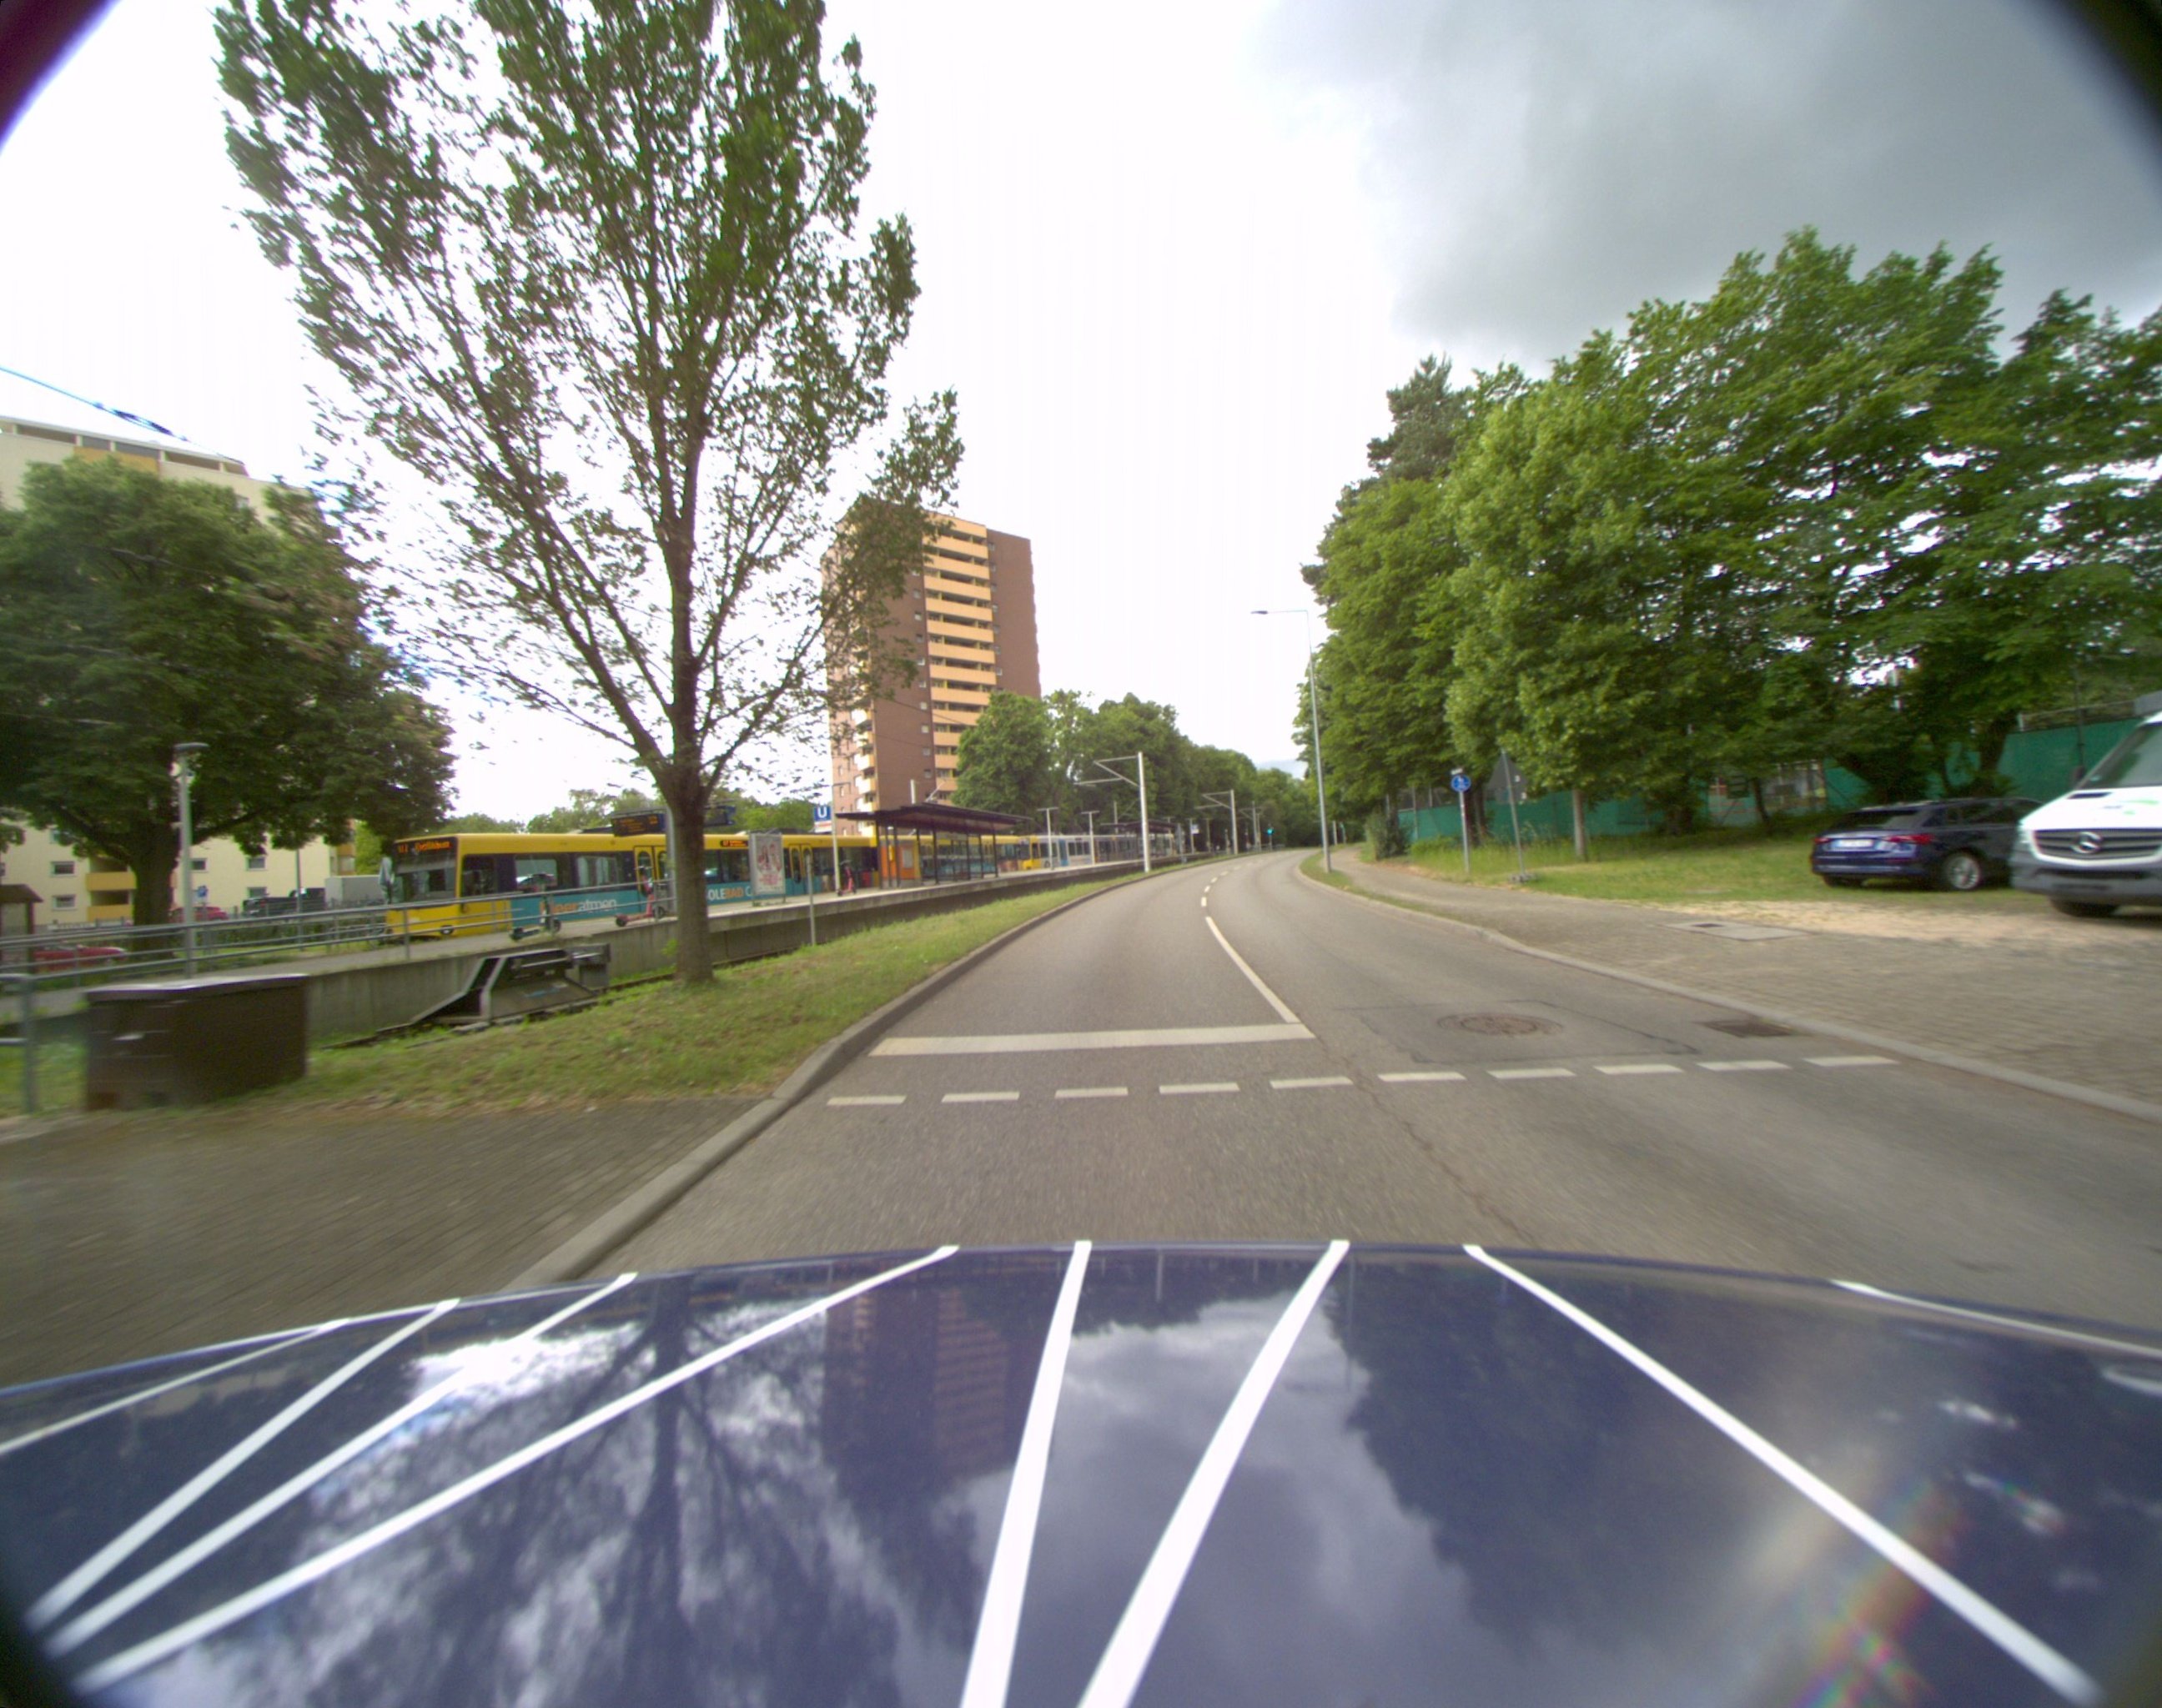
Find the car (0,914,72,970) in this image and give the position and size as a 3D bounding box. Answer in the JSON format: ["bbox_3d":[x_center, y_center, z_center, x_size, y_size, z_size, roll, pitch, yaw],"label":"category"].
[{"bbox_3d":[-42.591,3.525,29.258,1.901,2.002,4.004,-3,1,17],"label":"car"}]

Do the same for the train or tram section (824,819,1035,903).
[{"bbox_3d":[-7.797,0.114,45.219,2.817,3.715,19.535,-5,0,18],"label":"train or tram section"}]

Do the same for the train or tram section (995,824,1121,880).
[{"bbox_3d":[-1.247,-0.404,63.664,2.817,3.776,18.958,-5,0,22],"label":"train or tram section"}]

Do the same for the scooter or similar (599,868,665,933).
[{"bbox_3d":[-9.610,0.967,16.318,0.430,1.246,1.255,-3,3,8],"label":"scooter or similar"}]

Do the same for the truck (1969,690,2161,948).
[{"bbox_3d":[13.228,-0.627,7.442,6.402,2.403,2.123,-5,2,1],"label":"truck"}]

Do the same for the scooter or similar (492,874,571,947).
[{"bbox_3d":[-10.599,1.058,14.698,0.431,1.246,1.254,-3,3,5],"label":"scooter or similar"}]

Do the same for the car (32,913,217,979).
[{"bbox_3d":[-37.274,3.529,29.773,1.901,2.002,4.004,-3,1,17],"label":"car"}]

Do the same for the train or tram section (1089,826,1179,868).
[{"bbox_3d":[6.158,-0.971,80.922,2.816,3.715,18.558,-5,0,25],"label":"train or tram section"}]

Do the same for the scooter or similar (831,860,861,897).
[{"bbox_3d":[-8.311,0.841,26.897,0.368,1.235,1.147,-4,1,17],"label":"scooter or similar"}]

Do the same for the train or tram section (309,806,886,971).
[{"bbox_3d":[-13.598,0.601,26.666,2.817,3.567,19.535,-5,0,18],"label":"train or tram section"}]

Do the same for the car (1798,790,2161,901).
[{"bbox_3d":[14.099,-0.182,12.064,3.998,1.319,1.715,-5,3,-5],"label":"car"}]

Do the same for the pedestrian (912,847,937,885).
[{"bbox_3d":[-6.668,0.523,32.379,0.623,1.564,0.666,-3,2,35],"label":"pedestrian"}]

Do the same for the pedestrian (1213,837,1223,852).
[{"bbox_3d":[16.777,-1.176,93.265,0.985,1.747,0.730,-5,-1,15],"label":"pedestrian"}]
